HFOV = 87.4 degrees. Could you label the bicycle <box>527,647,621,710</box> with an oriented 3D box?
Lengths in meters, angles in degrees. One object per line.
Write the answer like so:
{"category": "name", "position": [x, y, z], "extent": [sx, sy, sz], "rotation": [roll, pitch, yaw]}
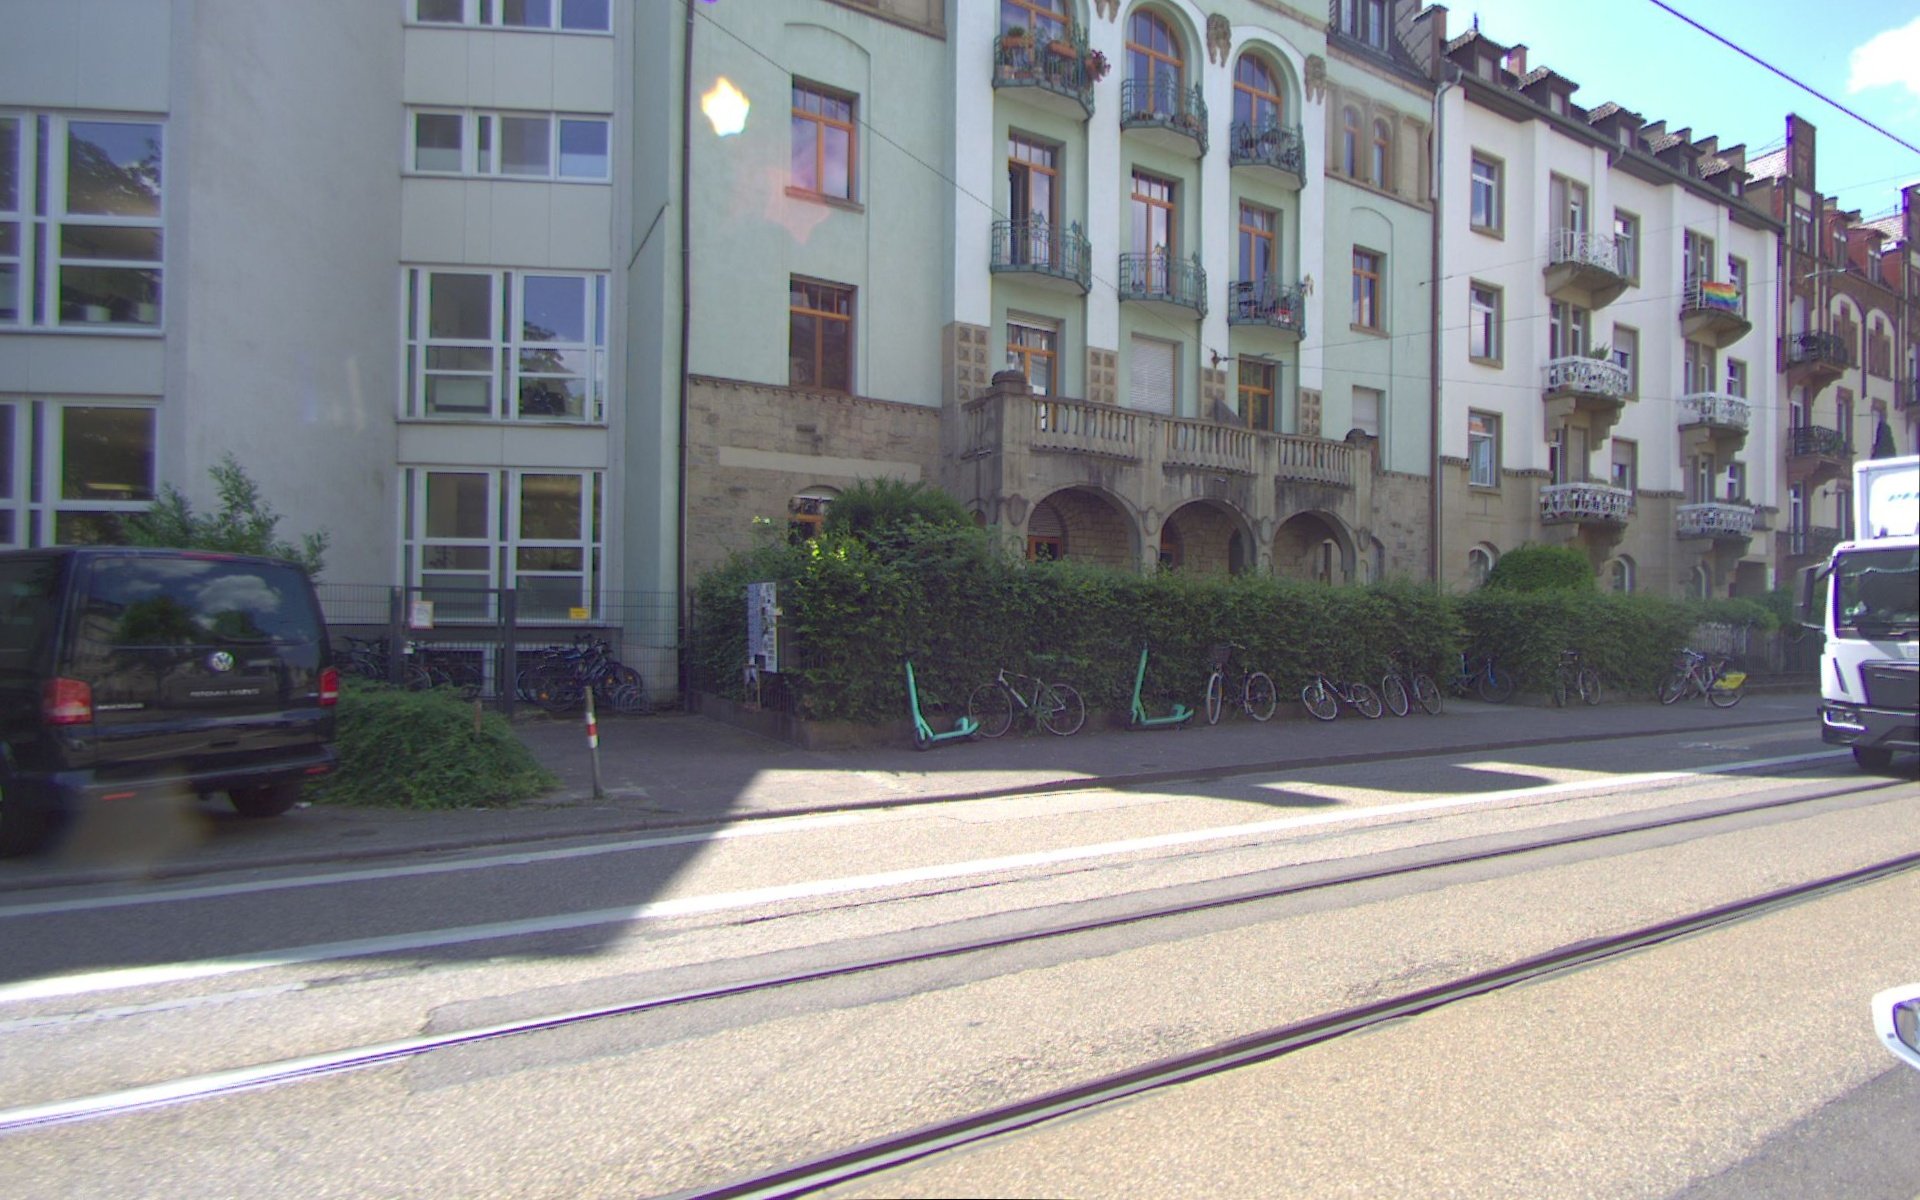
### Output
{"category": "bicycle", "position": [-6.437, 1.287, 16.783], "extent": [1.404, 1.010, 0.399], "rotation": [2, -2, -39]}

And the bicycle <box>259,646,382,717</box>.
{"category": "bicycle", "position": [-9.373, 1.192, 14.753], "extent": [1.423, 1.010, 0.498], "rotation": [1, -1, -7]}

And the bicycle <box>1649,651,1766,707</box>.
{"category": "bicycle", "position": [14.352, 1.515, 19.306], "extent": [1.739, 1.012, 0.610], "rotation": [1, -1, 6]}

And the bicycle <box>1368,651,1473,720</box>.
{"category": "bicycle", "position": [7.395, 1.345, 16.115], "extent": [1.751, 0.989, 0.604], "rotation": [1, 3, -31]}

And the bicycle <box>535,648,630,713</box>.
{"category": "bicycle", "position": [-6.166, 1.296, 16.445], "extent": [1.404, 1.010, 0.399], "rotation": [2, -2, -39]}

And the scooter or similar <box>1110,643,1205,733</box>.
{"category": "scooter or similar", "position": [2.630, 1.152, 13.334], "extent": [1.275, 1.135, 0.404], "rotation": [1, -1, -29]}

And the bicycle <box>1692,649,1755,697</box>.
{"category": "bicycle", "position": [16.452, 1.559, 21.636], "extent": [1.705, 0.979, 0.411], "rotation": [1, 2, -30]}

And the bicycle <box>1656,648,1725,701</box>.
{"category": "bicycle", "position": [14.942, 1.518, 20.544], "extent": [1.688, 1.013, 0.462], "rotation": [1, 2, -30]}

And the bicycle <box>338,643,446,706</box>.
{"category": "bicycle", "position": [-9.452, 1.241, 16.743], "extent": [1.459, 1.010, 0.498], "rotation": [1, -1, -7]}

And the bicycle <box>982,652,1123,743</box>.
{"category": "bicycle", "position": [1.163, 1.190, 12.540], "extent": [1.688, 1.002, 0.604], "rotation": [1, 3, -31]}

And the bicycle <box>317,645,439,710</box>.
{"category": "bicycle", "position": [-9.357, 1.239, 16.188], "extent": [1.610, 1.010, 0.498], "rotation": [1, -1, -7]}

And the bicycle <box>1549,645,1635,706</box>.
{"category": "bicycle", "position": [12.002, 1.415, 19.076], "extent": [1.751, 1.046, 0.604], "rotation": [1, 3, -31]}

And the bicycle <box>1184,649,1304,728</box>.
{"category": "bicycle", "position": [4.052, 1.235, 14.294], "extent": [1.688, 1.002, 0.604], "rotation": [1, 3, -31]}

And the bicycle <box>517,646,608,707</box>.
{"category": "bicycle", "position": [-6.837, 1.298, 17.316], "extent": [1.401, 1.010, 0.400], "rotation": [2, -2, -33]}

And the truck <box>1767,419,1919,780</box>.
{"category": "truck", "position": [13.249, 0.089, 12.336], "extent": [8.166, 3.667, 2.770], "rotation": [2, -1, -33]}

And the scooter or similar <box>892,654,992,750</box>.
{"category": "scooter or similar", "position": [-0.194, 1.151, 11.631], "extent": [0.401, 1.033, 1.216], "rotation": [0, -2, 44]}

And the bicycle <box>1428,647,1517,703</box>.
{"category": "bicycle", "position": [9.929, 1.429, 19.509], "extent": [0.387, 0.941, 1.564], "rotation": [1, 1, -29]}

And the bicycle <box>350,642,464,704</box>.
{"category": "bicycle", "position": [-9.443, 1.243, 17.189], "extent": [1.610, 1.010, 0.498], "rotation": [1, -1, -7]}

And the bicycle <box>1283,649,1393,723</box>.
{"category": "bicycle", "position": [5.752, 1.278, 15.252], "extent": [1.688, 1.002, 0.604], "rotation": [1, 3, -31]}

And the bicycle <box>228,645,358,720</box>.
{"category": "bicycle", "position": [-9.321, 1.155, 14.072], "extent": [1.423, 1.010, 0.471], "rotation": [1, -1, -7]}

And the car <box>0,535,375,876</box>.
{"category": "car", "position": [-6.867, 0.627, 7.547], "extent": [4.498, 1.951, 1.961], "rotation": [0, -1, 23]}

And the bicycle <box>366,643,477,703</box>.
{"category": "bicycle", "position": [-9.424, 1.272, 17.629], "extent": [1.621, 1.010, 0.498], "rotation": [1, -1, -7]}
